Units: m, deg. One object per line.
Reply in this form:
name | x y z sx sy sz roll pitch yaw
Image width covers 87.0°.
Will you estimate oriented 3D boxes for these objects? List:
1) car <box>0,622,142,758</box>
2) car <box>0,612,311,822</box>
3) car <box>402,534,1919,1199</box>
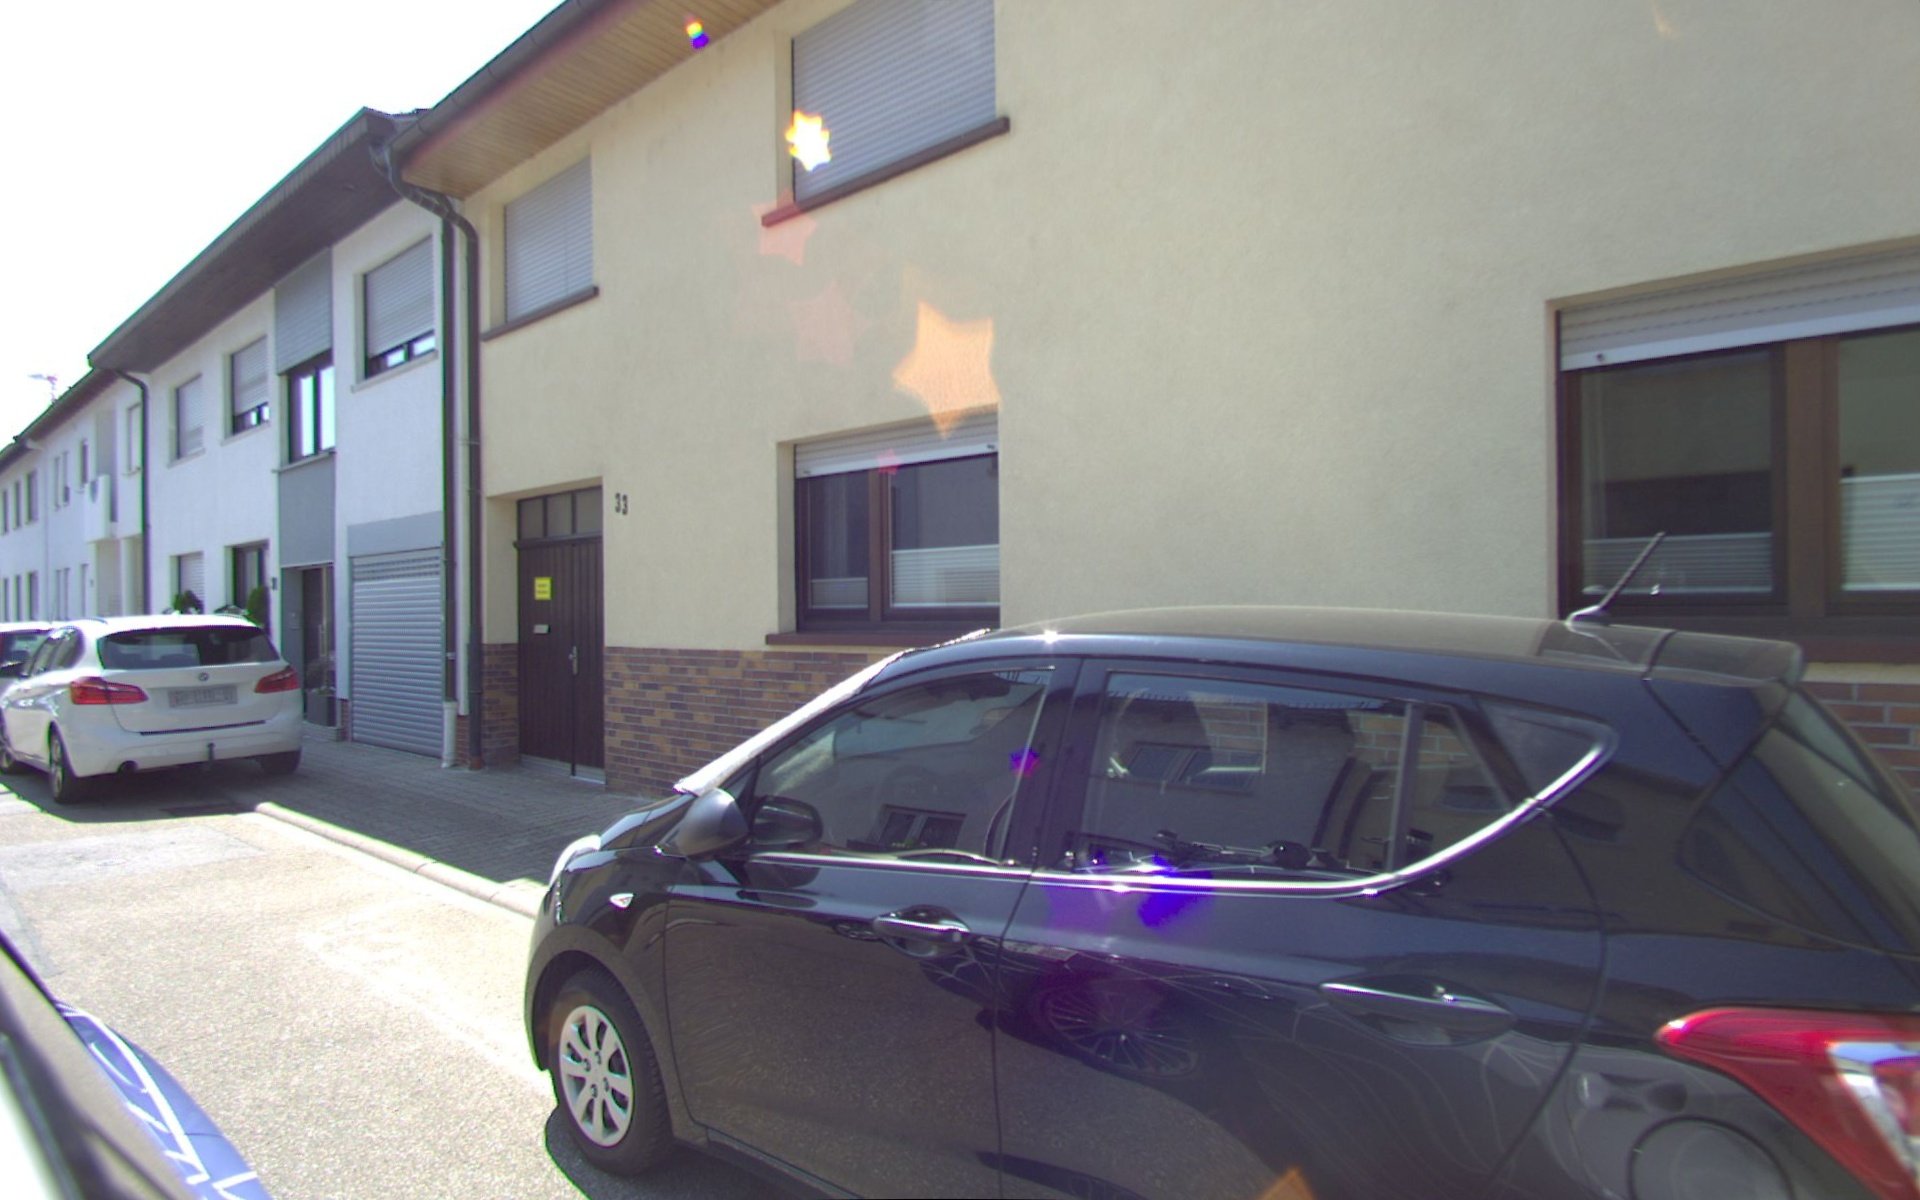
car | -12.274 1.085 13.259 3.683 1.553 1.647 -1 -1 38
car | -7.972 0.956 9.755 3.937 1.560 1.647 -1 1 38
car | 0.250 0.750 2.617 3.938 1.549 1.624 -1 -2 39
